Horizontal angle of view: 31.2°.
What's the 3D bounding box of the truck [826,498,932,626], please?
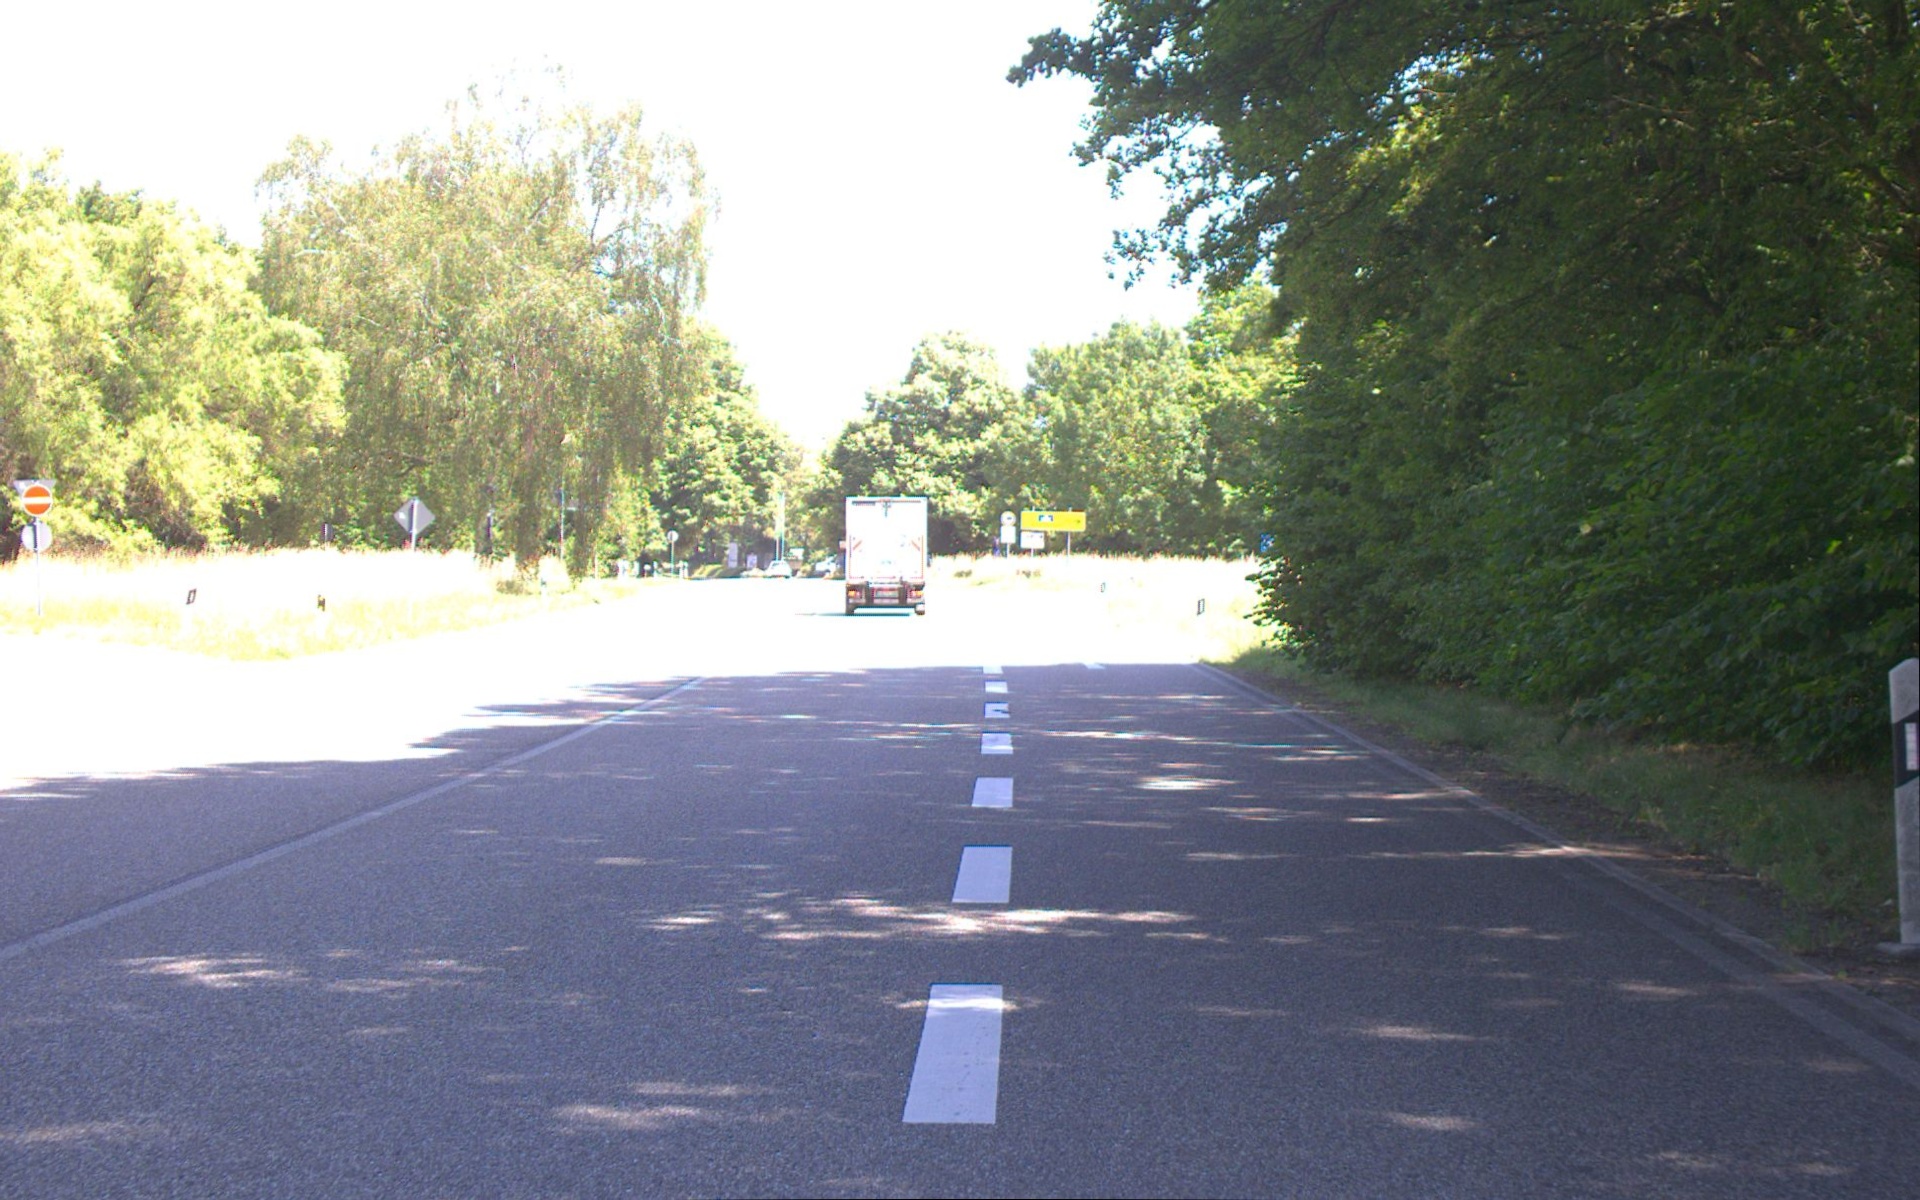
[{"bbox_3d":[-2.032,-0.973,87.745,2.533,3.124,5.361,1,1,0],"label":"truck"}]
